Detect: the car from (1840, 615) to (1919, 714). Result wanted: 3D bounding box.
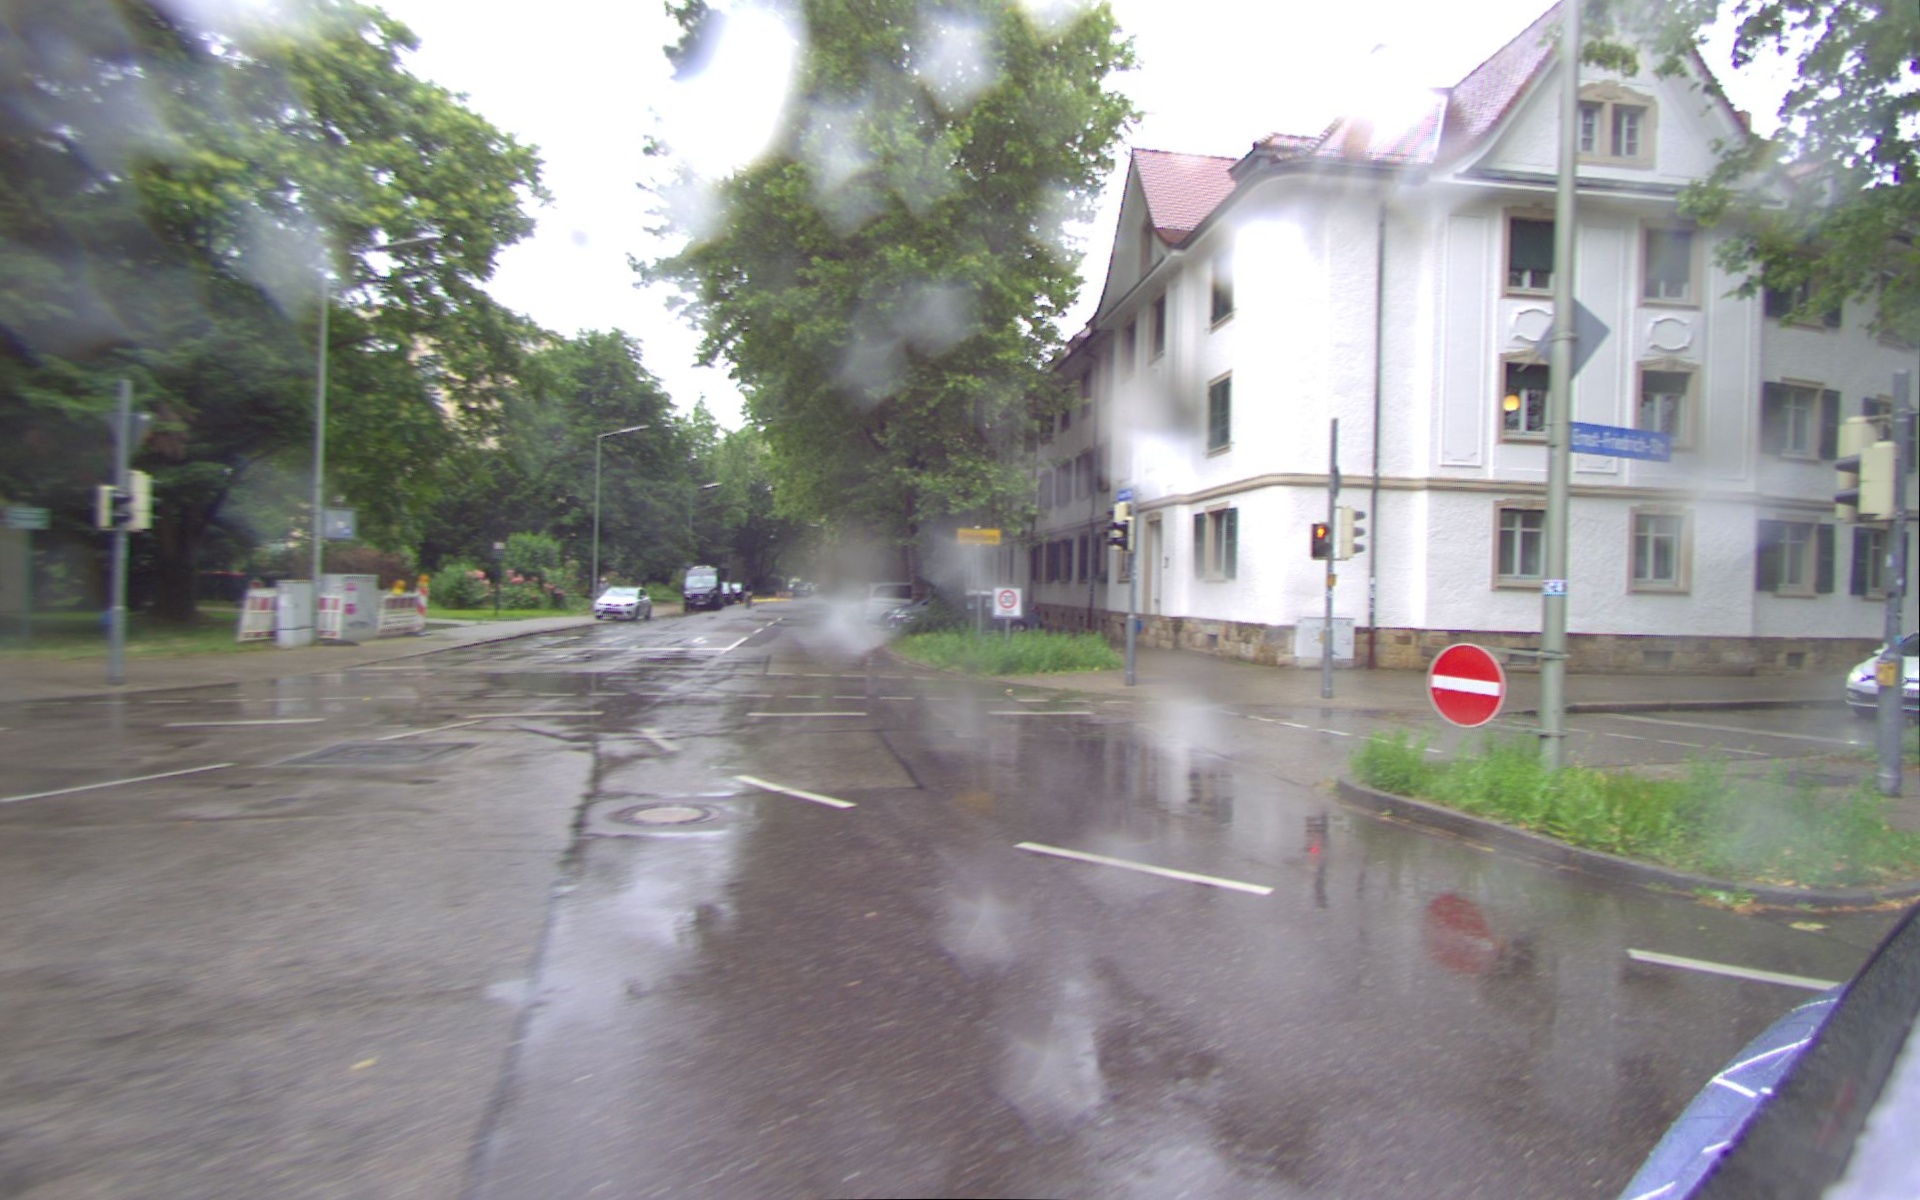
[{"bbox_3d":[16.094,0.975,15.751,4.306,1.452,1.785,1,-2,-22],"label":"car"}]

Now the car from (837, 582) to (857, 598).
[{"bbox_3d":[-13.307,-1.242,119.006,1.958,1.829,4.008,1,1,-11],"label":"car"}]

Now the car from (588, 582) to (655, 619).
[{"bbox_3d":[-14.558,-0.018,43.735,1.786,1.478,4.277,1,1,-5],"label":"car"}]

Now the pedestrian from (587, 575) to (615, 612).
[{"bbox_3d":[-16.622,-0.294,46.896,0.925,1.681,0.929,2,0,-3],"label":"pedestrian"}]

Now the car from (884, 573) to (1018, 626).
[{"bbox_3d":[-0.370,-0.017,36.337,4.578,1.712,2.036,2,0,-6],"label":"car"}]

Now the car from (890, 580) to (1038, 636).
[{"bbox_3d":[0.101,0.257,33.814,4.643,1.643,1.933,2,0,-8],"label":"car"}]

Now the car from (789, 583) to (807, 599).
[{"bbox_3d":[-18.914,-1.021,117.717,1.958,1.829,4.358,1,1,-10],"label":"car"}]

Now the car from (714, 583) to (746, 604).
[{"bbox_3d":[-17.385,-0.522,76.500,1.959,1.558,4.006,1,1,-7],"label":"car"}]

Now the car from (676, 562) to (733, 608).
[{"bbox_3d":[-15.008,-0.857,59.802,2.354,2.506,5.698,2,0,-6],"label":"car"}]

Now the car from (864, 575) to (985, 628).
[{"bbox_3d":[-1.448,0.064,40.142,4.578,1.897,2.036,2,0,-6],"label":"car"}]

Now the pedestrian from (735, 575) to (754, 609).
[{"bbox_3d":[-13.415,-0.481,63.137,0.925,2.088,1.081,2,0,-3],"label":"pedestrian"}]

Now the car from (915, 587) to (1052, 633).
[{"bbox_3d":[0.679,0.295,31.116,3.917,1.371,1.800,0,1,-10],"label":"car"}]
